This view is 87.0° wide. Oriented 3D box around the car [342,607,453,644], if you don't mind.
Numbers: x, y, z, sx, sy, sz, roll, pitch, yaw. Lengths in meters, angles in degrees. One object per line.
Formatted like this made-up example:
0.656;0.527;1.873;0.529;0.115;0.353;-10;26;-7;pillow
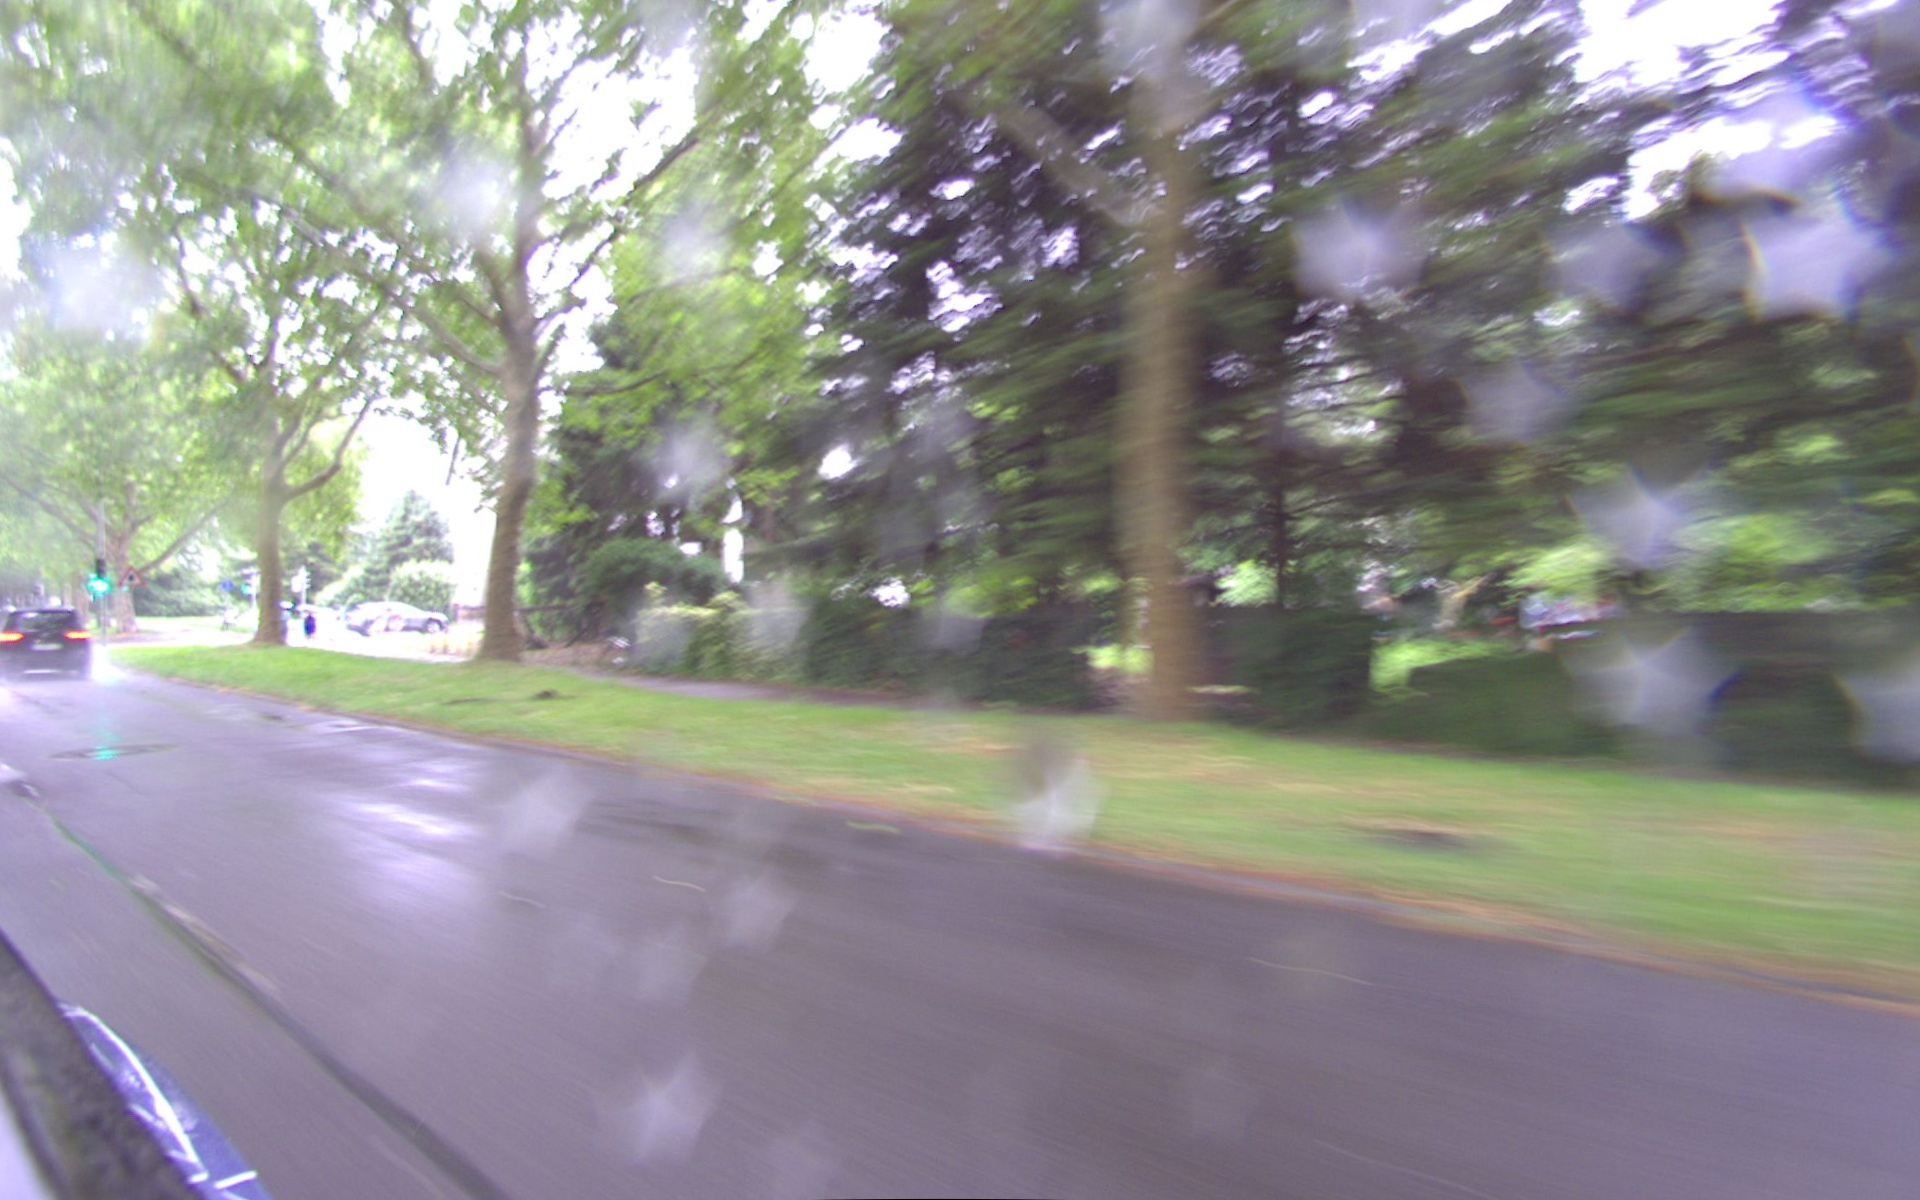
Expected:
-28.610;1.260;51.553;4.647;1.700;2.003;-2;1;-40;car

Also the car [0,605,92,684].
-22.007;0.983;23.855;4.774;1.667;1.798;-1;1;43;car

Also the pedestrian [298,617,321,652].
-24.525;1.293;38.152;0.849;1.271;0.510;-1;1;43;pedestrian

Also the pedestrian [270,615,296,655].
-25.055;1.282;37.466;0.857;1.464;0.591;-1;1;43;pedestrian
